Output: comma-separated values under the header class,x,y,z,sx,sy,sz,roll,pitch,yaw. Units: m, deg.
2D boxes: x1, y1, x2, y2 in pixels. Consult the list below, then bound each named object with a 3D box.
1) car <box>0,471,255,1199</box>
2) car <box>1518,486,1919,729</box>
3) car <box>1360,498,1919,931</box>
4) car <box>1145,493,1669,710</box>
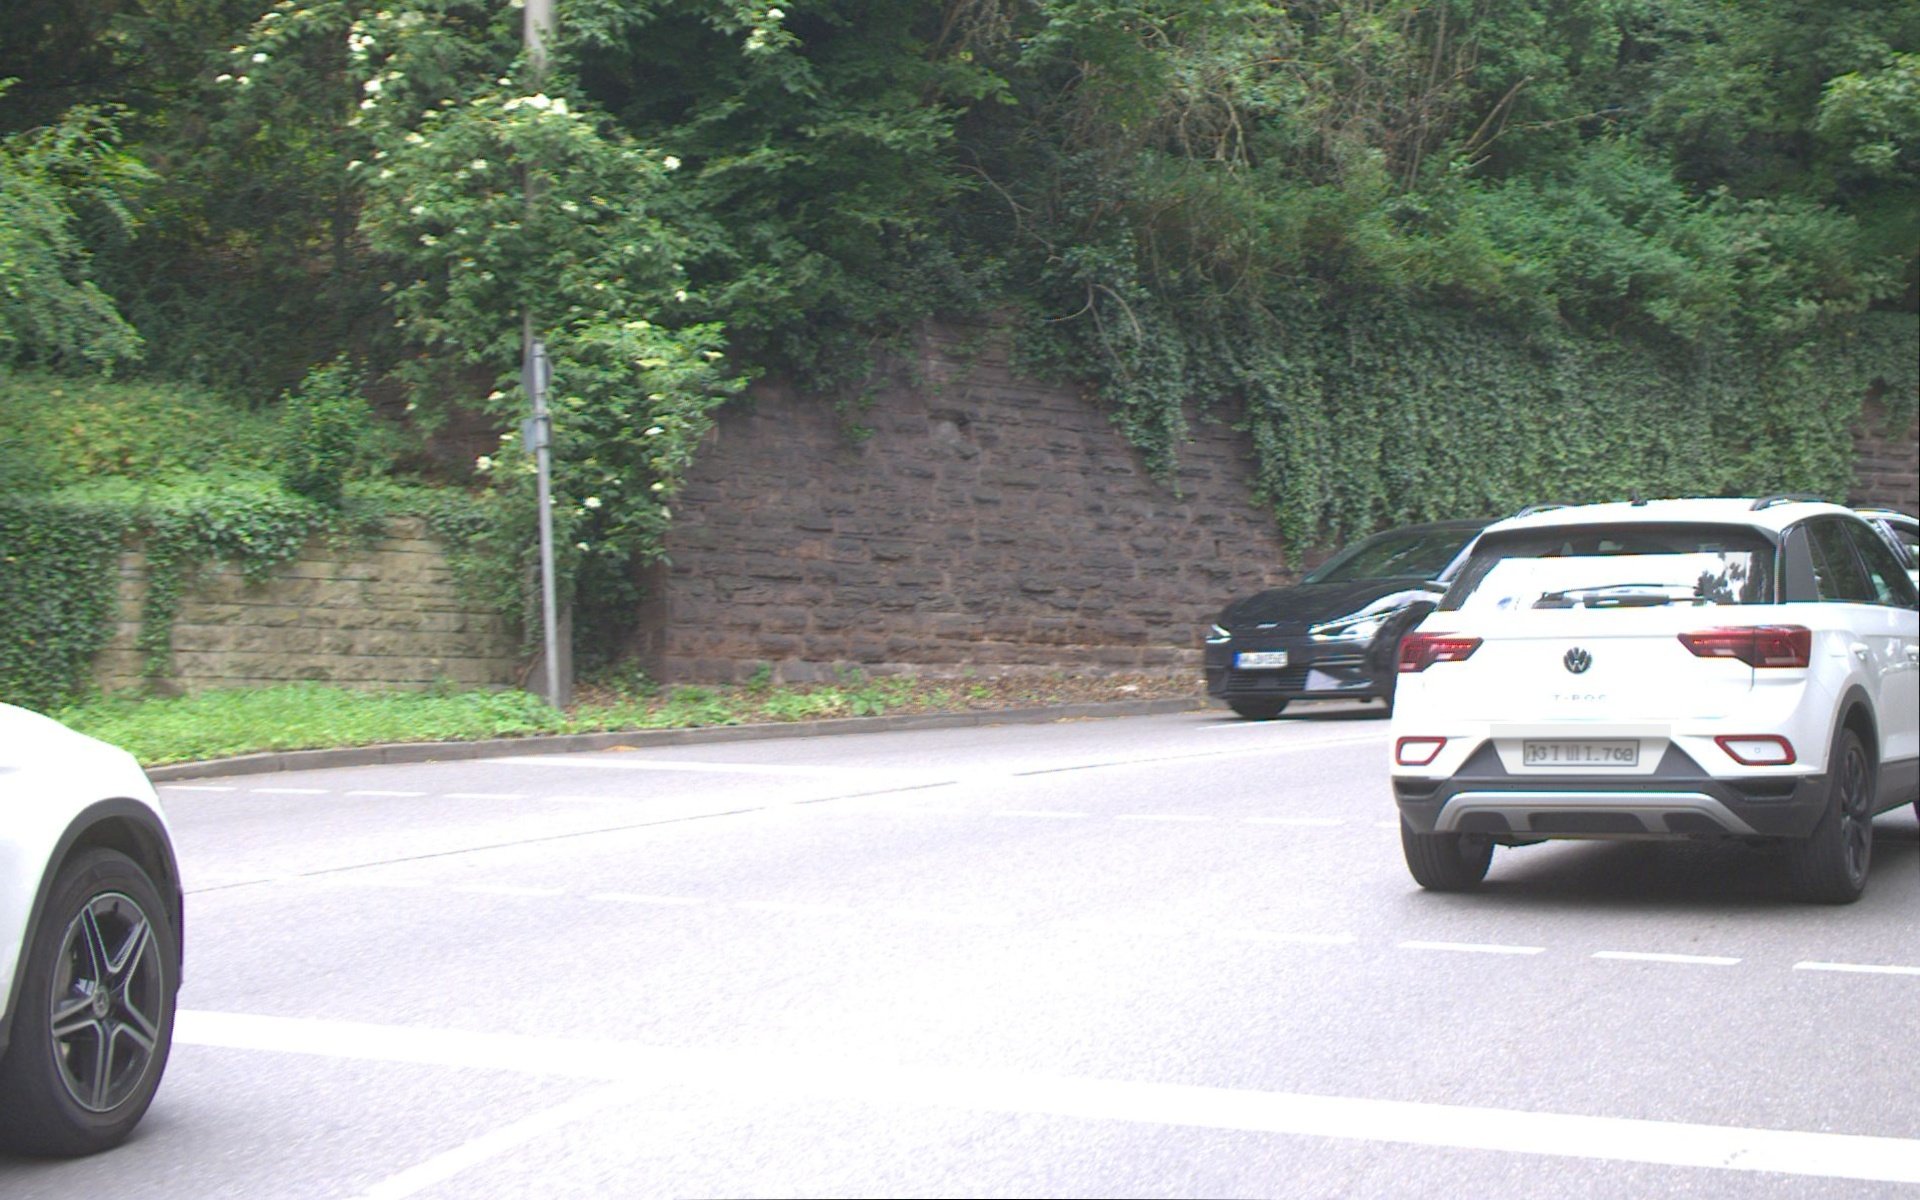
class,x,y,z,sx,sy,sz,roll,pitch,yaw
car,-3.169,0.532,6.699,1.859,1.600,4.669,1,1,11
car,6.030,-0.030,24.219,1.869,1.528,4.765,2,3,42
car,3.270,0.347,14.643,1.757,1.547,4.331,0,2,26
car,3.644,-0.017,27.523,4.386,1.538,1.635,-3,1,-42
